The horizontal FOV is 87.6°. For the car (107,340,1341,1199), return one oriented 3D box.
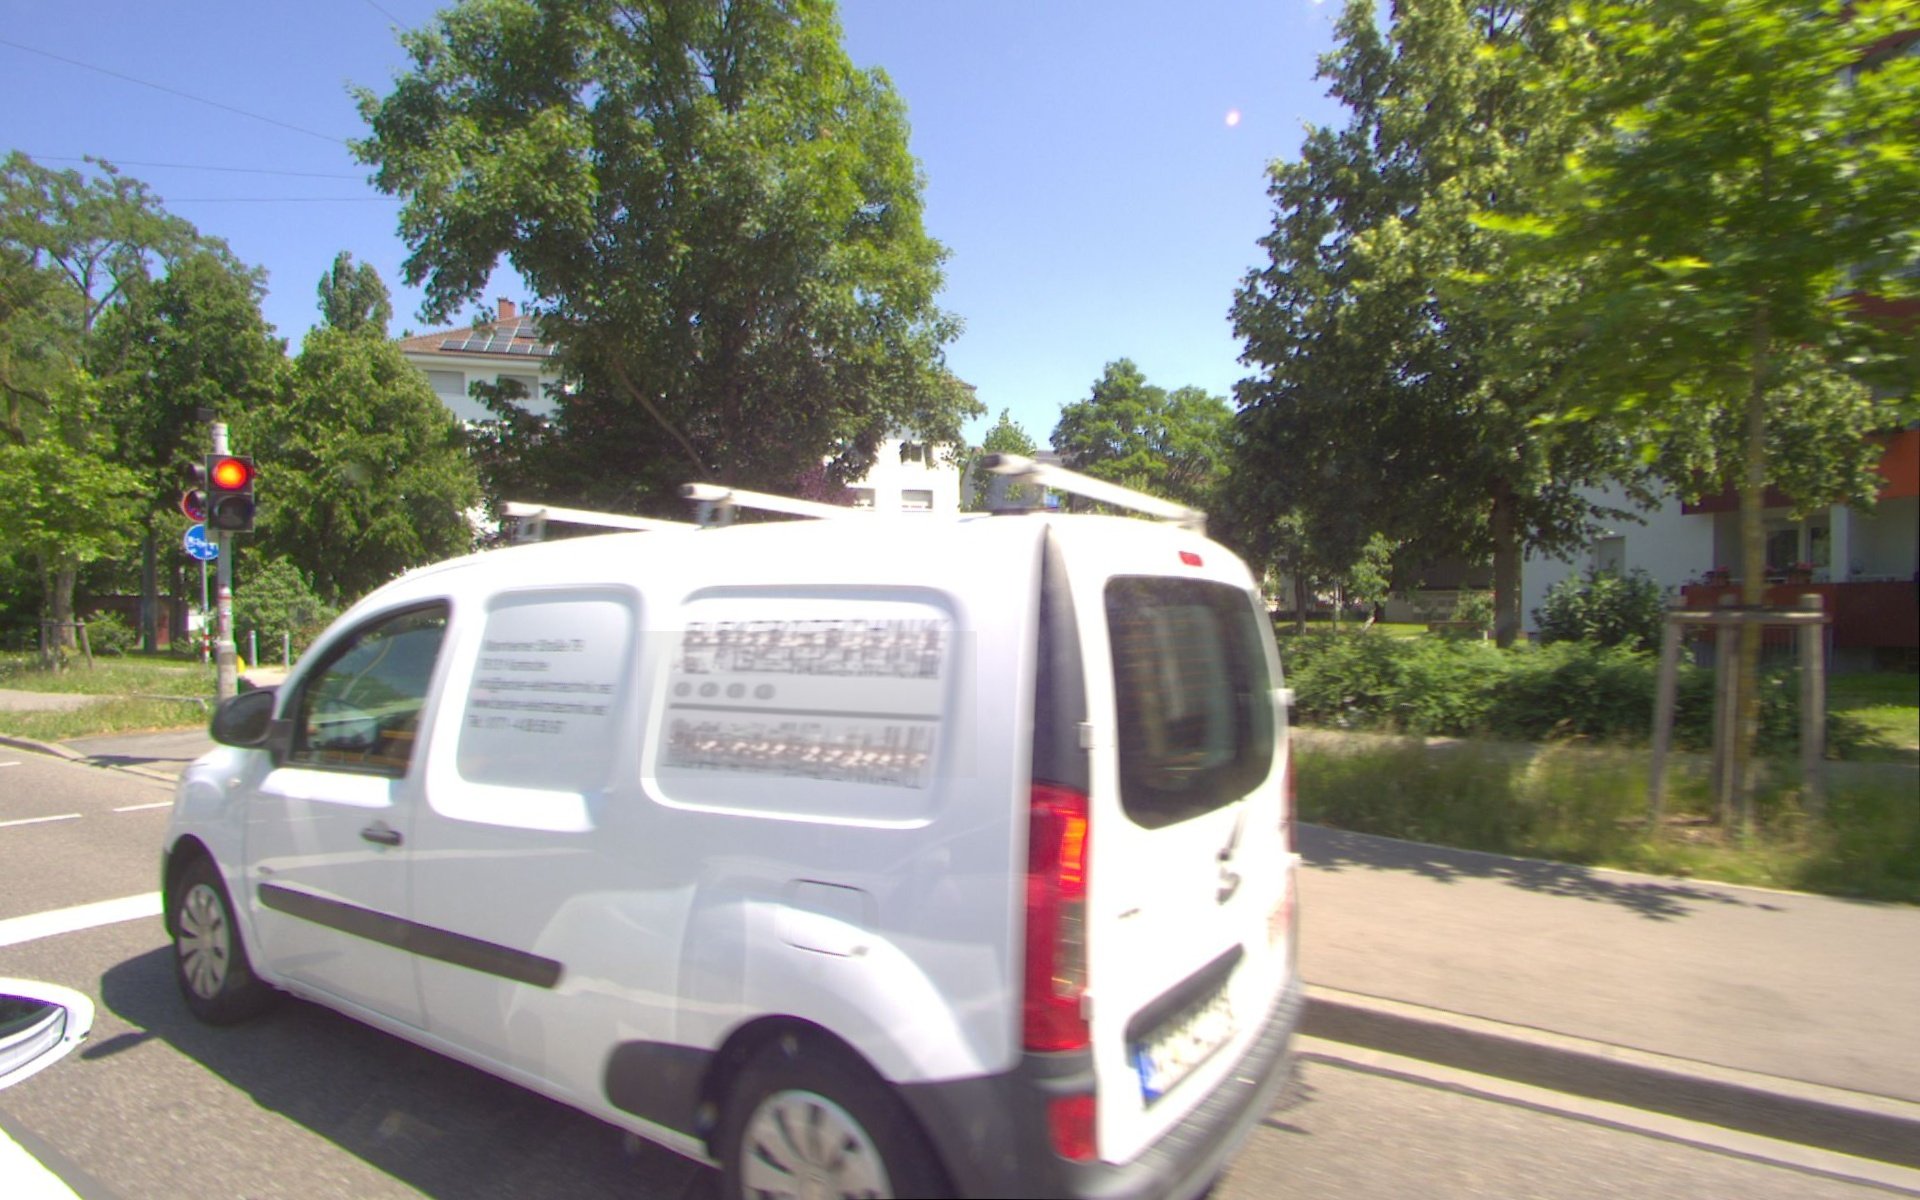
[{"bbox_3d":[-1.117,0.564,3.619,4.393,1.906,1.821,0,-1,33],"label":"car"}]
